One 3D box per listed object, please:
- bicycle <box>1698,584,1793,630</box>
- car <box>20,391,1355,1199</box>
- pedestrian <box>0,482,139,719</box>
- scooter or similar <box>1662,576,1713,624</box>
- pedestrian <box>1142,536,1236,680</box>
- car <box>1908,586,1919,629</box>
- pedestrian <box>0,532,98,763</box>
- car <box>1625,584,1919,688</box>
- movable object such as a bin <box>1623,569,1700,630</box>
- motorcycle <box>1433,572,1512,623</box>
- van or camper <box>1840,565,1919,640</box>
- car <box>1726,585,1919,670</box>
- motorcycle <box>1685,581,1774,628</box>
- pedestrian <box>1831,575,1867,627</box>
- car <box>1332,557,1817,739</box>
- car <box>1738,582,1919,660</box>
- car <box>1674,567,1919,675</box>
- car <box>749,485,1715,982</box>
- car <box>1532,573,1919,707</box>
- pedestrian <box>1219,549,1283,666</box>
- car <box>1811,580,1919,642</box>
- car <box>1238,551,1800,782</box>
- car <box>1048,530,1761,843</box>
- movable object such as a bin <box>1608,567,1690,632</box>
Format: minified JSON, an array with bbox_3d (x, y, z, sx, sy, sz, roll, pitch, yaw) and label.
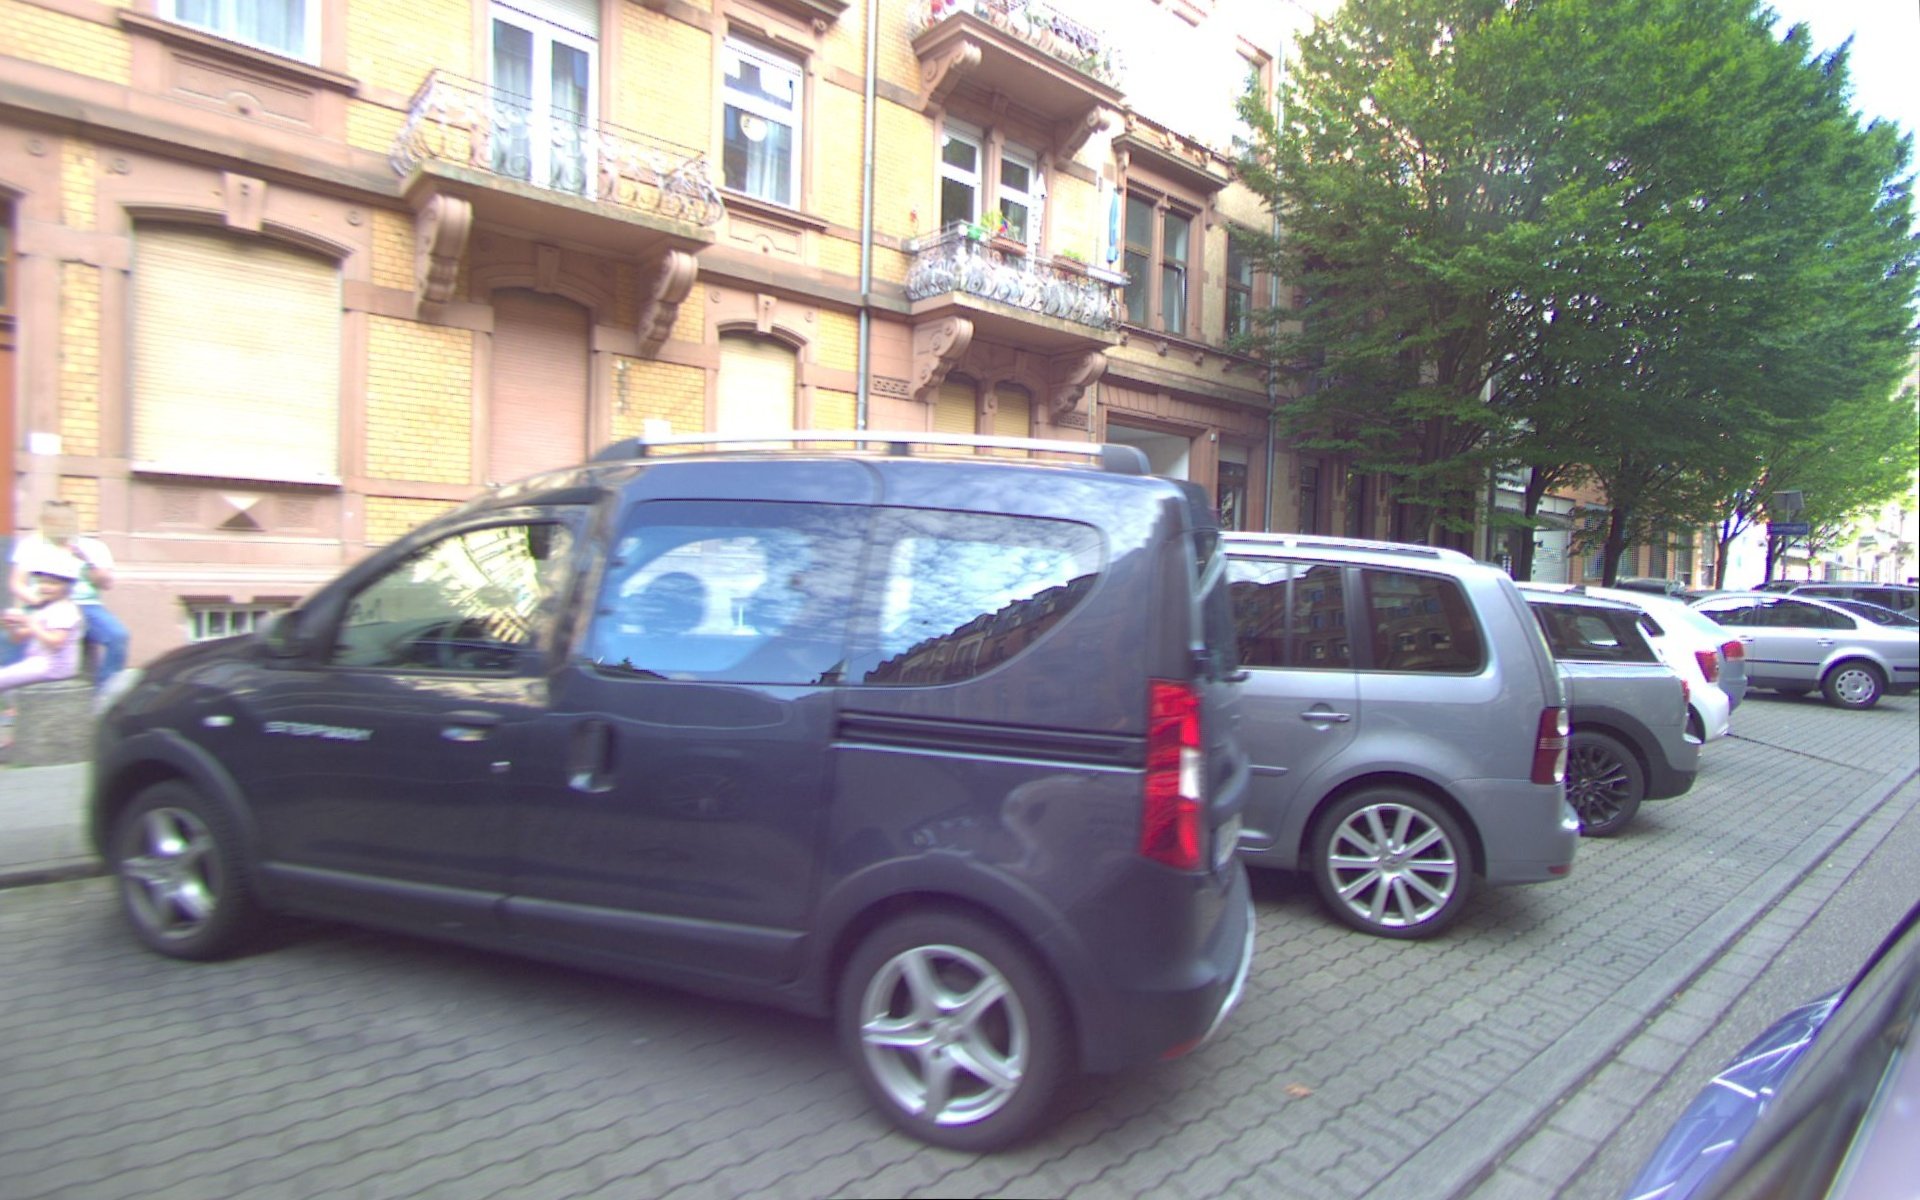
[{"bbox_3d":[23.316,0.192,30.068,0.806,1.108,2.026,0,6,-41],"label":"bicycle"},{"bbox_3d":[-0.997,0.304,3.712,4.347,1.844,1.746,4,3,18],"label":"car"},{"bbox_3d":[-6.288,-0.020,7.013,0.927,1.515,0.800,4,2,43],"label":"pedestrian"},{"bbox_3d":[22.061,-0.008,30.695,0.515,1.329,1.321,4,4,4],"label":"scooter or similar"},{"bbox_3d":[2.761,0.066,12.204,0.819,1.653,0.732,-1,4,-43],"label":"pedestrian"},{"bbox_3d":[39.732,0.334,39.166,3.947,1.694,1.916,1,1,18],"label":"car"},{"bbox_3d":[-5.340,0.245,5.754,0.662,1.233,0.602,0,4,-41],"label":"pedestrian"},{"bbox_3d":[13.374,0.530,16.210,4.078,1.435,1.861,2,1,15],"label":"car"},{"bbox_3d":[18.859,-0.024,27.217,1.020,1.462,1.375,0,7,-43],"label":"movable object such as a bin"},{"bbox_3d":[12.538,-0.071,24.737,2.448,1.202,0.895,0,1,-42],"label":"motorcycle"},{"bbox_3d":[29.381,0.068,30.394,3.949,2.206,1.987,1,1,20],"label":"van or camper"},{"bbox_3d":[17.780,0.508,19.760,4.064,1.539,1.838,1,2,14],"label":"car"},{"bbox_3d":[23.562,0.111,31.015,0.813,1.241,1.983,0,6,-42],"label":"motorcycle"},{"bbox_3d":[31.079,0.027,35.361,0.937,1.759,0.753,0,5,-45],"label":"pedestrian"},{"bbox_3d":[6.233,0.394,10.830,3.942,1.478,1.880,3,4,14],"label":"car"},{"bbox_3d":[19.480,0.451,21.766,3.956,1.455,1.712,4,3,23],"label":"car"},{"bbox_3d":[15.506,0.359,18.148,3.943,1.720,1.844,2,1,15],"label":"car"},{"bbox_3d":[1.129,0.395,5.223,3.949,1.762,1.829,3,2,19],"label":"car"},{"bbox_3d":[10.814,0.481,14.142,4.552,1.469,1.783,4,3,18],"label":"car"},{"bbox_3d":[3.993,0.089,13.930,0.709,1.521,1.000,2,1,11],"label":"pedestrian"},{"bbox_3d":[27.539,0.380,28.699,4.745,1.562,1.861,4,3,18],"label":"car"},{"bbox_3d":[4.593,0.434,9.011,3.948,1.467,1.727,5,4,18],"label":"car"},{"bbox_3d":[2.724,0.424,7.052,3.940,1.567,1.862,4,3,13],"label":"car"},{"bbox_3d":[18.031,-0.027,26.487,1.144,1.476,1.375,0,9,-43],"label":"movable object such as a bin"}]
